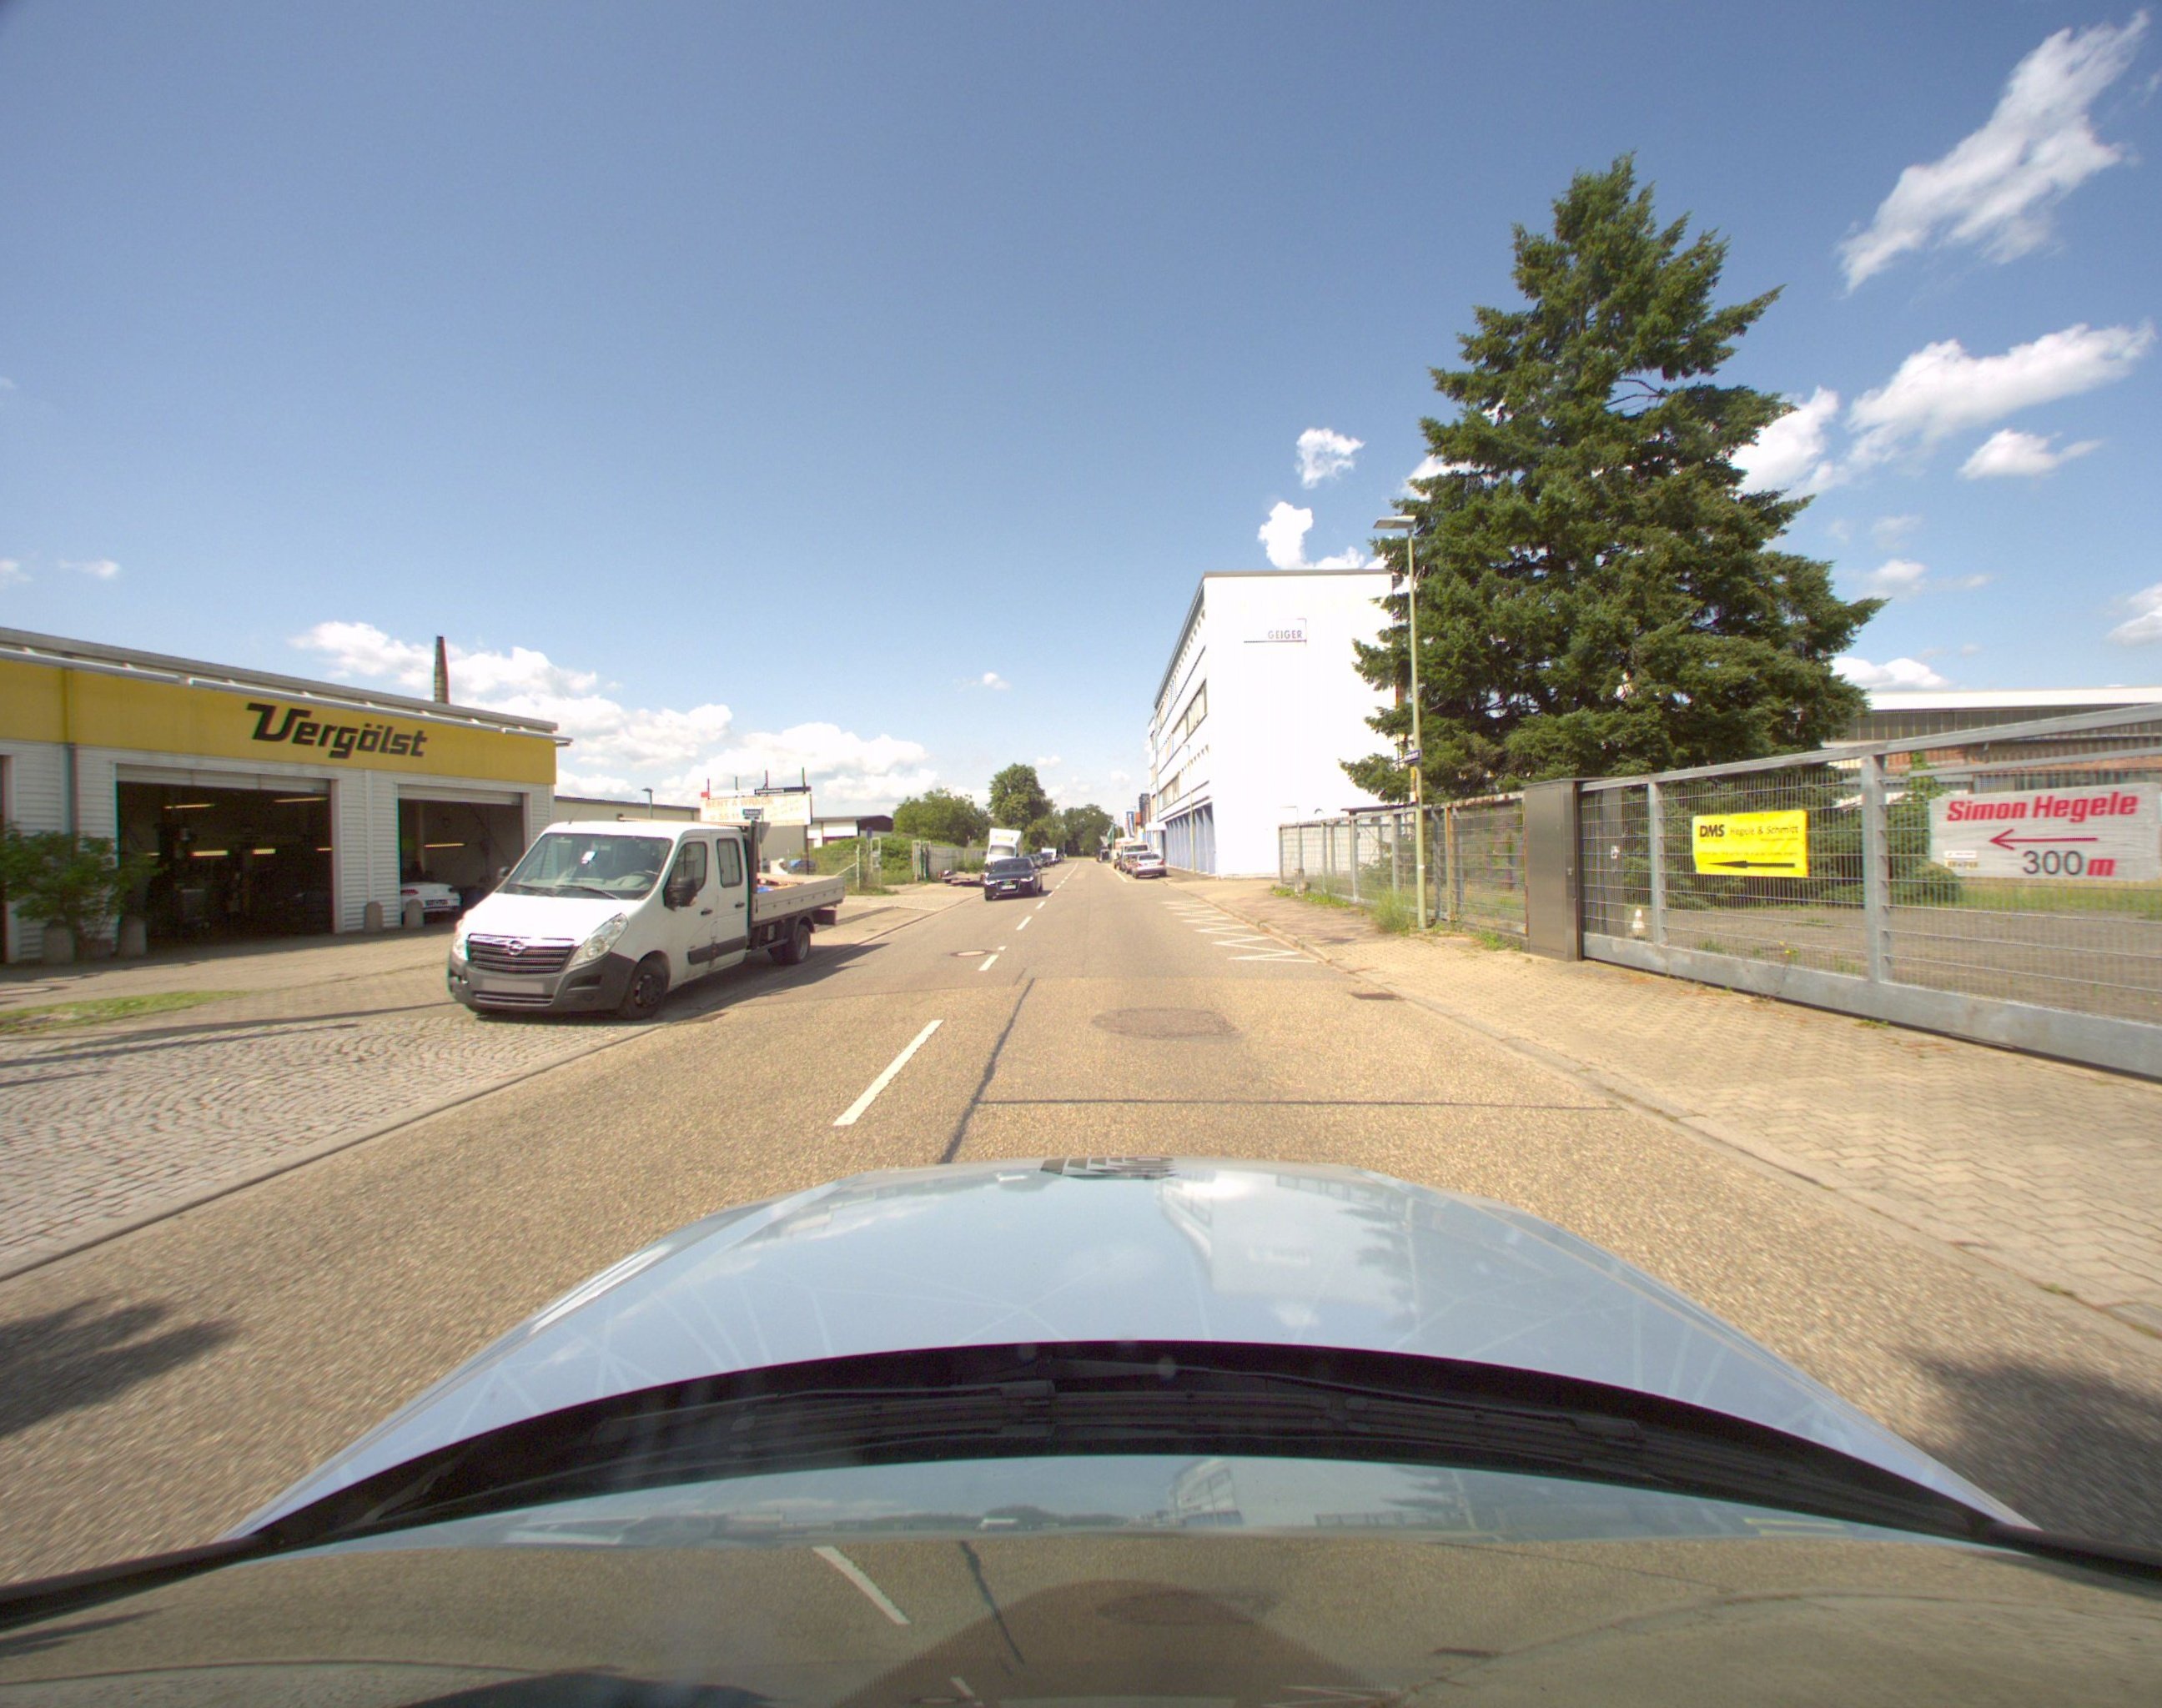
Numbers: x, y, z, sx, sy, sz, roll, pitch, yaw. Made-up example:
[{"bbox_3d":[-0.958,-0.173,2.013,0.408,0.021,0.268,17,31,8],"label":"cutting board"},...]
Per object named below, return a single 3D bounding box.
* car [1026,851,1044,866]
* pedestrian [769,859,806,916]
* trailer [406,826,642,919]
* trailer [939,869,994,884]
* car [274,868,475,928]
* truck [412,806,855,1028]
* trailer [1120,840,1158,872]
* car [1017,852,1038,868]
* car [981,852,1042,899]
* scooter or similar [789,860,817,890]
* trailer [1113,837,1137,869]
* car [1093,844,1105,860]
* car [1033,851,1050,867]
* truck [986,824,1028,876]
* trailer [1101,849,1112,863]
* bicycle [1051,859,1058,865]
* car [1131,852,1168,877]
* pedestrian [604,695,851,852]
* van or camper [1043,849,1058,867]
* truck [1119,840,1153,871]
[{"bbox_3d":[-4.738,0.481,83.700,1.610,1.483,3.709,1,0,0],"label":"car"},{"bbox_3d":[-8.290,0.939,23.028,0.657,1.545,0.918,-2,0,1],"label":"pedestrian"},{"bbox_3d":[-18.717,0.618,27.531,6.474,2.852,2.767,-1,0,11],"label":"trailer"},{"bbox_3d":[-5.799,1.137,41.736,2.228,0.552,4.443,3,0,-1],"label":"trailer"},{"bbox_3d":[-18.548,1.150,21.460,3.959,1.400,1.986,-1,0,13],"label":"car"},{"bbox_3d":[-5.627,0.625,12.044,2.119,2.239,7.355,1,0,3],"label":"truck"},{"bbox_3d":[3.757,0.113,53.496,1.967,1.971,5.764,-2,0,0],"label":"trailer"},{"bbox_3d":[-5.166,0.594,78.995,1.563,1.399,3.800,3,0,2],"label":"car"},{"bbox_3d":[-2.462,0.719,29.916,1.780,1.438,4.308,-5,0,-1],"label":"car"},{"bbox_3d":[-12.442,0.934,36.420,0.887,1.275,0.886,-1,0,-44],"label":"scooter or similar"},{"bbox_3d":[3.726,-0.067,69.317,1.861,2.553,5.075,-2,0,3],"label":"trailer"},{"bbox_3d":[3.222,-0.329,148.862,1.932,2.748,6.151,-1,0,-1],"label":"car"},{"bbox_3d":[-4.643,0.579,97.017,1.796,1.749,4.711,-2,0,-1],"label":"car"},{"bbox_3d":[-5.053,-0.294,56.689,2.243,3.362,6.904,-1,0,-1],"label":"truck"},{"bbox_3d":[3.873,0.345,124.675,1.596,2.037,2.740,-1,0,-1],"label":"trailer"},{"bbox_3d":[-2.964,0.897,91.640,0.585,0.741,2.126,-1,0,3],"label":"bicycle"},{"bbox_3d":[3.695,0.549,44.548,1.642,1.246,3.999,-2,0,0],"label":"car"},{"bbox_3d":[-5.216,-1.067,12.708,1.986,2.014,4.001,0,-1,2],"label":"pedestrian"},{"bbox_3d":[-5.115,0.681,135.938,2.256,2.804,6.829,2,0,-2],"label":"van or camper"},{"bbox_3d":[3.790,0.094,56.729,1.958,2.035,4.733,-1,0,0],"label":"truck"}]
